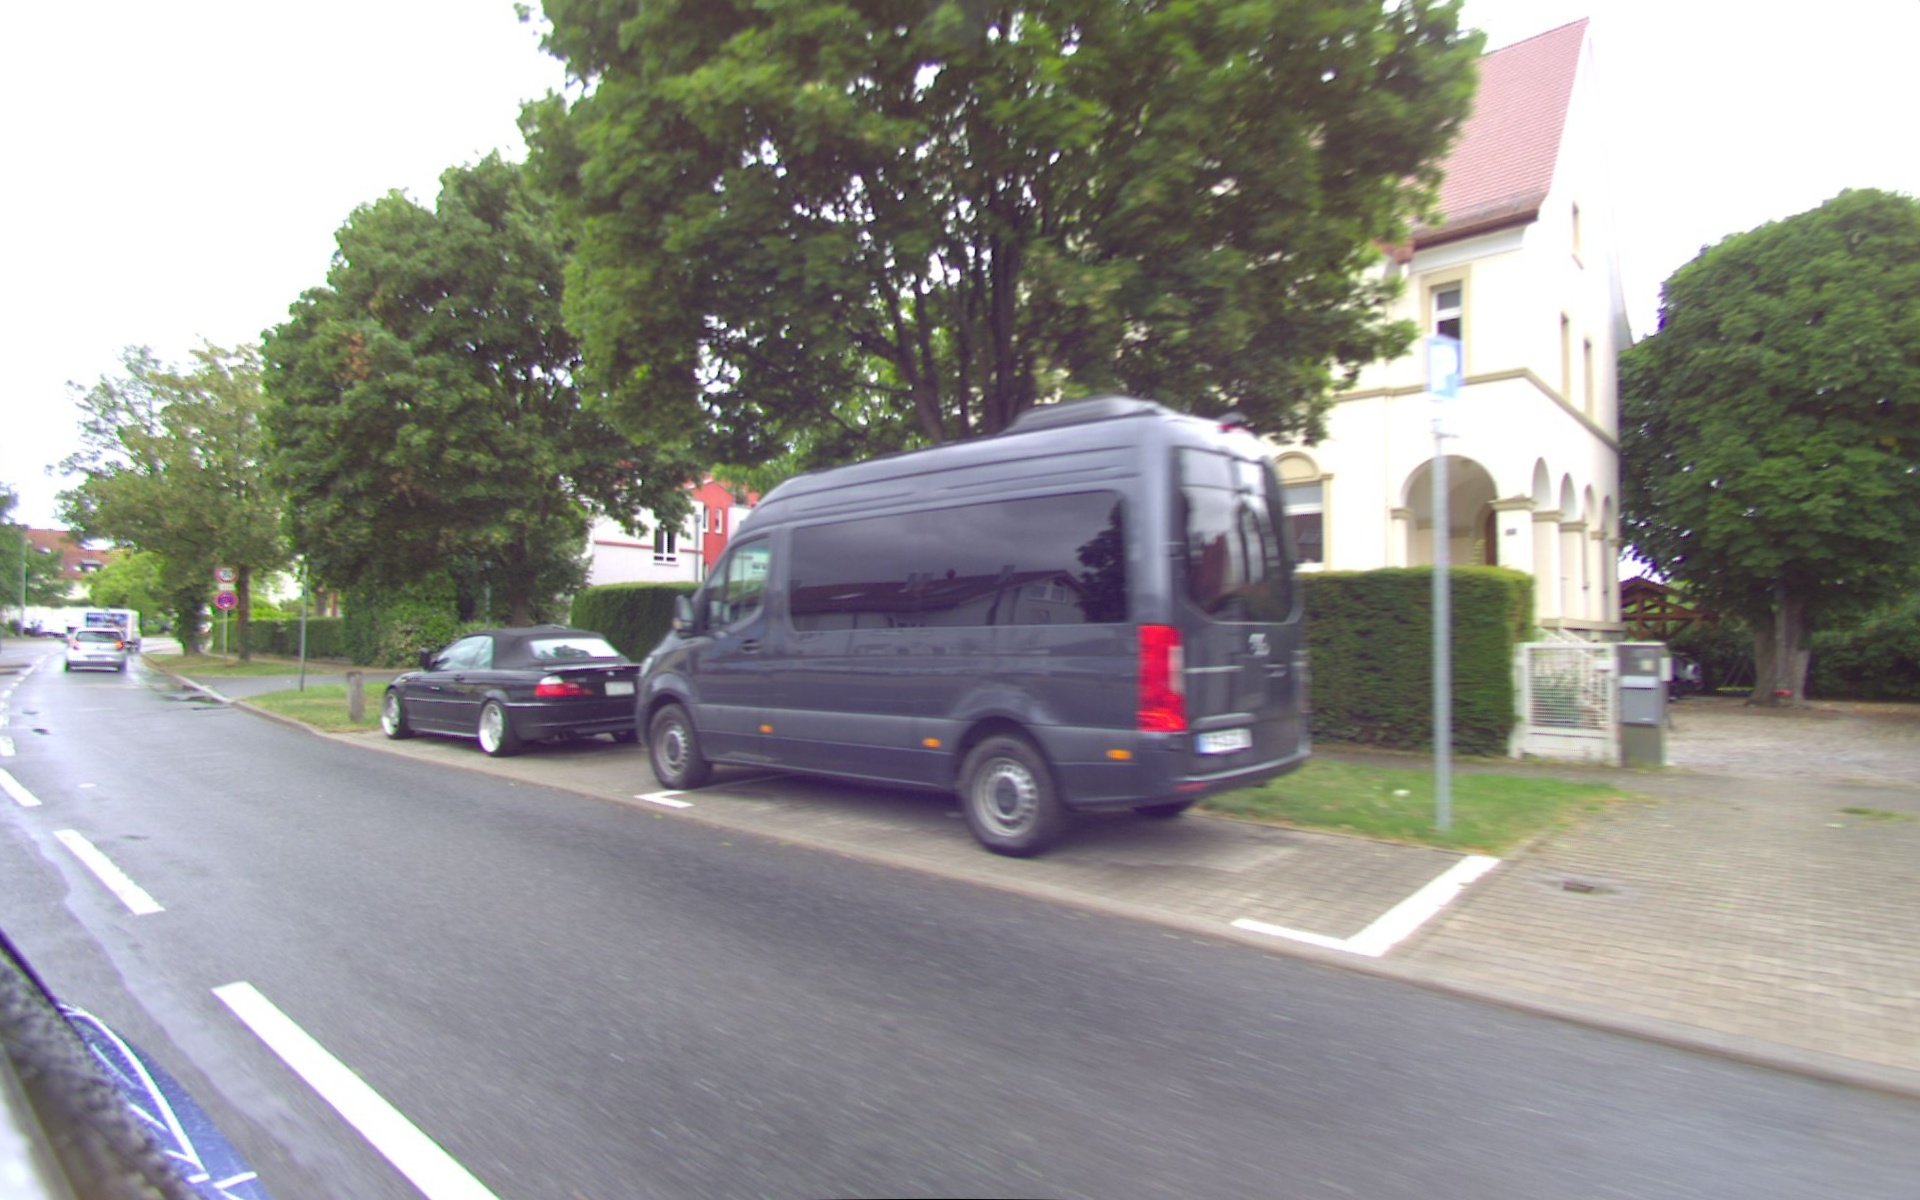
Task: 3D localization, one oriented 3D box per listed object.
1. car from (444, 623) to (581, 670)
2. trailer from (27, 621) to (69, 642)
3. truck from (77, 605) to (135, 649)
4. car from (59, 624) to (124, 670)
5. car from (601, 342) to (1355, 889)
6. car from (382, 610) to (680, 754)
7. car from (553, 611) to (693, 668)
[{"bbox_3d":[-15.235,1.551,34.647,1.690,1.485,3.978,-1,-2,37],"label":"car"},{"bbox_3d":[-72.071,2.466,79.933,4.425,1.555,1.972,-1,-2,42],"label":"trailer"},{"bbox_3d":[-45.832,1.469,54.316,2.189,2.220,6.474,2,-3,-40],"label":"truck"},{"bbox_3d":[-29.728,1.577,34.632,1.574,1.475,3.457,2,-3,-42],"label":"car"},{"bbox_3d":[-0.326,0.145,7.804,5.935,2.749,1.972,-2,-1,42],"label":"car"},{"bbox_3d":[-5.120,0.879,11.882,3.823,1.419,1.705,-2,-3,41],"label":"car"},{"bbox_3d":[-10.586,1.215,32.018,1.689,1.665,3.982,-4,-3,33],"label":"car"}]
